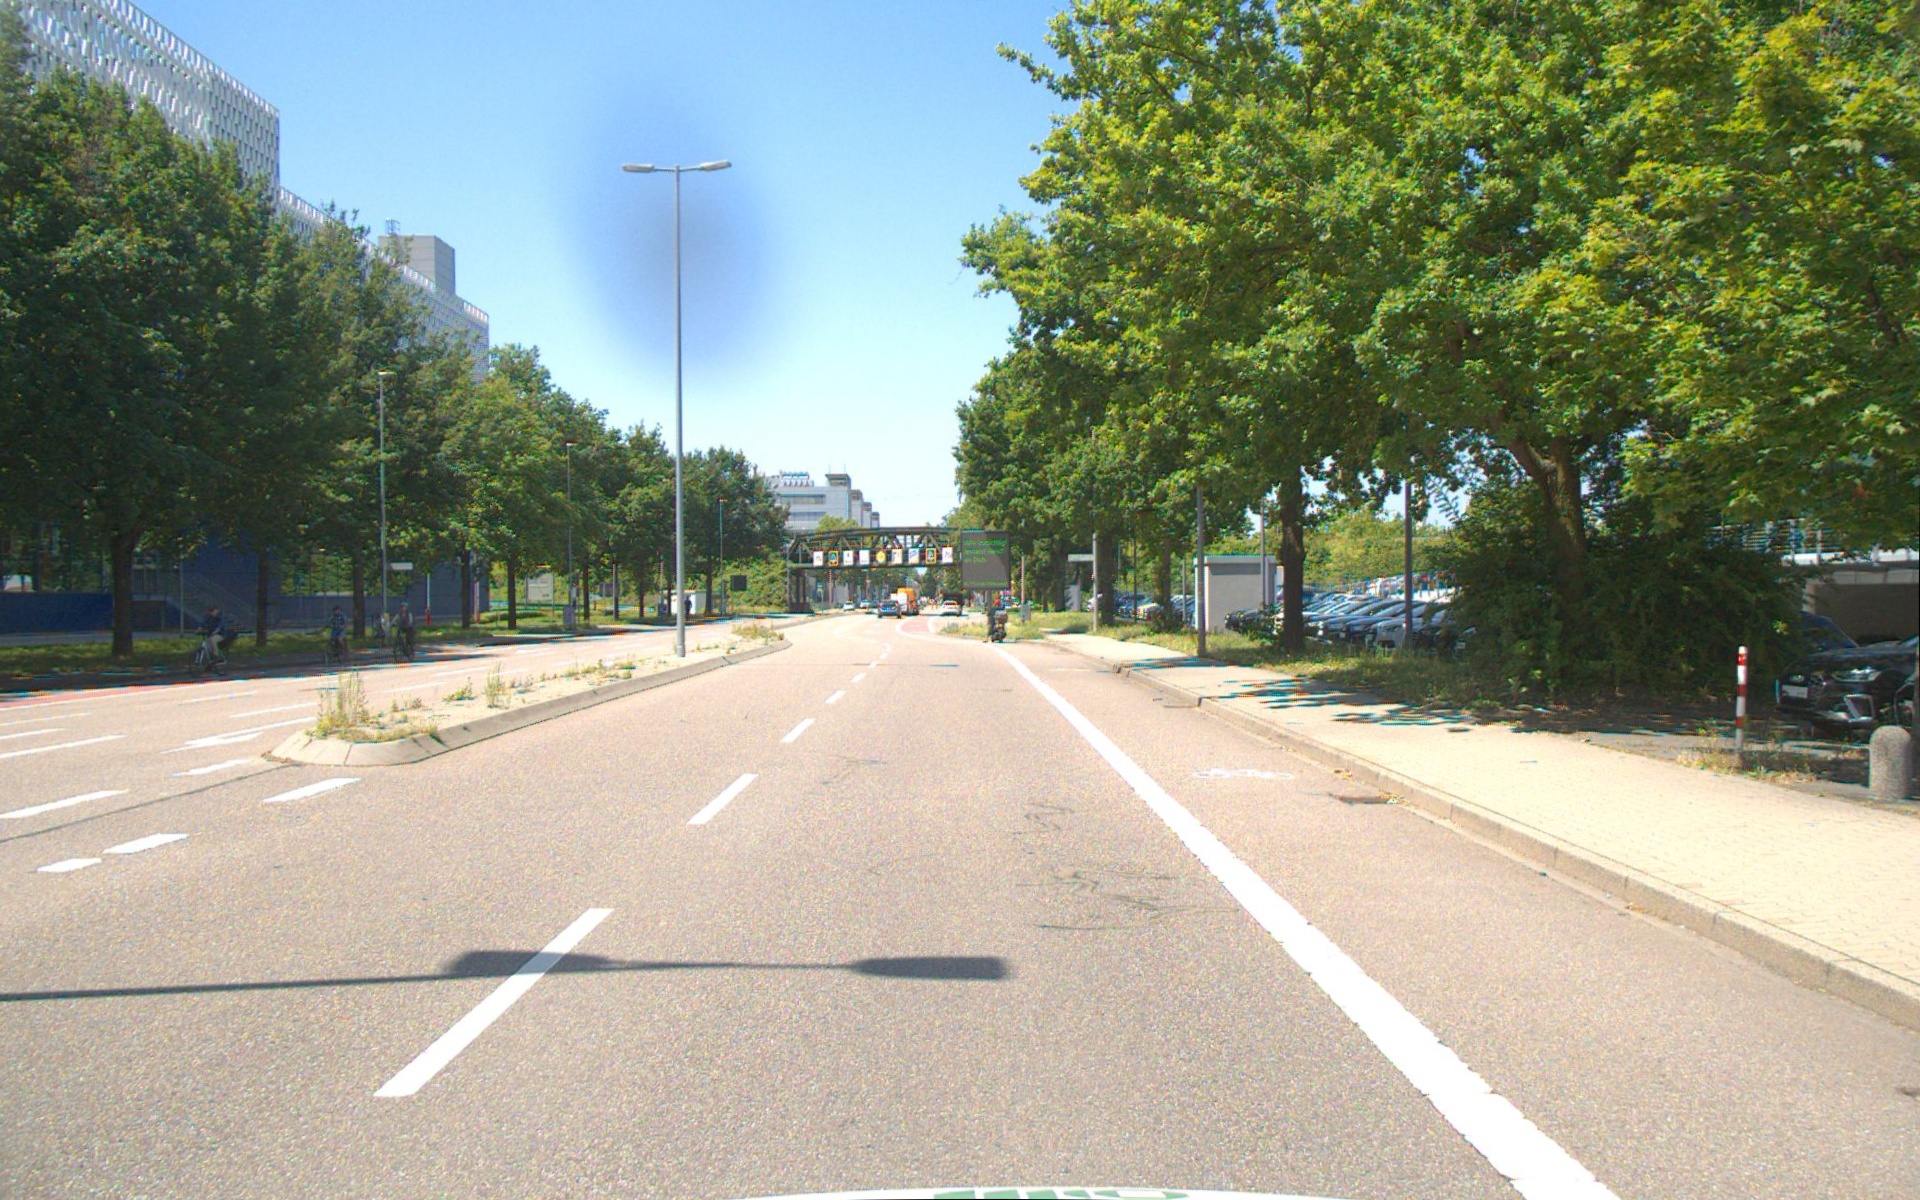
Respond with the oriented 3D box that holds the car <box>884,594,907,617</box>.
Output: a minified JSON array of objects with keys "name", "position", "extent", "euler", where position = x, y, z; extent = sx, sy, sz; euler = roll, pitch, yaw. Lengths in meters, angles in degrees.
[{"name":"car","position":[-5.828,0.474,149.836],"extent":[1.953,2.049,3.999],"euler":[1,0,-2]}]

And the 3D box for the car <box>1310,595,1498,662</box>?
[{"name":"car","position":[11.148,0.697,41.728],"extent":[4.136,1.393,1.988],"euler":[4,0,-1]}]

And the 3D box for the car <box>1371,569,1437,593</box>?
[{"name":"car","position":[25.980,-1.099,96.826],"extent":[3.453,1.261,1.541],"euler":[2,0,-3]}]

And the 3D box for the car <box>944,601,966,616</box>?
[{"name":"car","position":[-0.481,0.788,154.967],"extent":[1.885,1.445,3.999],"euler":[0,0,-2]}]

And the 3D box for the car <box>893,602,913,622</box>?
[{"name":"car","position":[-5.587,1.188,162.139],"extent":[1.856,1.847,3.999],"euler":[0,0,-1]}]

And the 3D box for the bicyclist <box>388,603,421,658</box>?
[{"name":"bicyclist","position":[-17.153,0.943,51.080],"extent":[0.621,1.657,1.044],"euler":[-2,0,-2]}]

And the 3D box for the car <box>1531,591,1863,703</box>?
[{"name":"car","position":[11.498,0.716,26.000],"extent":[4.359,1.417,1.833],"euler":[4,0,-1]}]

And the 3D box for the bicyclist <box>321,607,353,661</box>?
[{"name":"bicyclist","position":[-18.835,1.012,50.015],"extent":[0.623,1.610,0.885],"euler":[0,0,2]}]

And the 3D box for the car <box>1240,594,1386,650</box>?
[{"name":"car","position":[11.148,0.688,52.420],"extent":[4.136,1.477,1.917],"euler":[4,0,-1]}]

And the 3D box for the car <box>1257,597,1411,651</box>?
[{"name":"car","position":[11.206,0.711,49.790],"extent":[4.136,1.365,1.917],"euler":[4,0,-1]}]

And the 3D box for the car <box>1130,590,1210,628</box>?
[{"name":"car","position":[11.117,0.474,87.702],"extent":[3.787,1.632,1.795],"euler":[5,-1,-5]}]

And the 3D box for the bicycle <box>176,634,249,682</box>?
[{"name":"bicycle","position":[-19.540,1.500,43.286],"extent":[0.724,1.145,2.435],"euler":[0,0,2]}]

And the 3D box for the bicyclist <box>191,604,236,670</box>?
[{"name":"bicyclist","position":[-19.545,0.964,43.311],"extent":[0.729,1.715,0.952],"euler":[0,0,2]}]

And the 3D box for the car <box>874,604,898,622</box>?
[{"name":"car","position":[-5.968,1.007,133.159],"extent":[1.862,1.400,4.230],"euler":[-1,0,-2]}]

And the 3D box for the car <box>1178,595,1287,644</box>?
[{"name":"car","position":[10.962,0.779,66.680],"extent":[3.910,1.646,1.795],"euler":[5,-1,-5]}]

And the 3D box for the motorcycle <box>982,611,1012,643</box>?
[{"name":"motorcycle","position":[1.333,0.968,60.136],"extent":[0.703,1.124,1.825],"euler":[1,0,-10]}]

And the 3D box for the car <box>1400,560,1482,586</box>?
[{"name":"car","position":[25.912,-1.440,89.175],"extent":[3.909,1.334,1.795],"euler":[-1,0,-5]}]

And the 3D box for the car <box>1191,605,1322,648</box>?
[{"name":"car","position":[10.240,0.899,57.316],"extent":[4.135,1.365,1.917],"euler":[1,0,-1]}]

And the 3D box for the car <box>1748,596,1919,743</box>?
[{"name":"car","position":[10.794,0.747,17.368],"extent":[4.146,1.426,1.816],"euler":[2,0,-1]}]

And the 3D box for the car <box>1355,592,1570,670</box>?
[{"name":"car","position":[11.098,0.678,36.741],"extent":[4.136,1.431,1.917],"euler":[4,0,-1]}]

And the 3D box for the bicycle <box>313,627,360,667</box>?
[{"name":"bicycle","position":[-18.829,1.400,49.977],"extent":[0.624,1.153,1.971],"euler":[0,0,2]}]

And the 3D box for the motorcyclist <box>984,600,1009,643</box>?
[{"name":"motorcyclist","position":[1.326,0.787,60.186],"extent":[0.706,1.556,0.868],"euler":[1,-1,-11]}]

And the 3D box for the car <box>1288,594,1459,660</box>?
[{"name":"car","position":[11.067,0.710,44.442],"extent":[4.047,1.404,1.778],"euler":[5,0,-1]}]

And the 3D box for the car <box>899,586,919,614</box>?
[{"name":"car","position":[-5.297,-0.009,171.505],"extent":[2.031,2.904,6.762],"euler":[-1,0,-2]}]

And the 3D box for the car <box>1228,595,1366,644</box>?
[{"name":"car","position":[11.127,0.635,54.799],"extent":[4.136,1.365,1.917],"euler":[4,0,-1]}]

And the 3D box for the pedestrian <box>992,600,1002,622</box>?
[{"name":"pedestrian","position":[2.420,0.707,107.704],"extent":[0.611,1.398,0.564],"euler":[0,0,-2]}]

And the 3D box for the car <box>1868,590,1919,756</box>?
[{"name":"car","position":[10.340,0.713,14.622],"extent":[3.607,1.479,1.833],"euler":[2,0,-1]}]

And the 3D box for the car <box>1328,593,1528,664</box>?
[{"name":"car","position":[11.055,0.663,39.264],"extent":[4.135,1.431,1.917],"euler":[3,0,-1]}]

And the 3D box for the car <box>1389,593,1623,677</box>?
[{"name":"car","position":[11.239,0.705,34.241],"extent":[4.136,1.431,1.917],"euler":[4,0,-1]}]

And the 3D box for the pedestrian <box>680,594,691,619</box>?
[{"name":"pedestrian","position":[-21.253,0.526,128.011],"extent":[0.728,1.917,0.577],"euler":[0,0,0]}]

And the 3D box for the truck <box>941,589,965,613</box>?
[{"name":"truck","position":[-0.780,0.090,176.701],"extent":[2.408,2.452,7.132],"euler":[1,0,-1]}]

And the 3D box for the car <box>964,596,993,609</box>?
[{"name":"car","position":[2.617,0.367,228.711],"extent":[3.903,1.780,1.893],"euler":[0,0,4]}]

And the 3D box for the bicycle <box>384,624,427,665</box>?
[{"name":"bicycle","position":[-17.136,1.371,51.125],"extent":[0.616,1.179,2.117],"euler":[-2,0,-1]}]
